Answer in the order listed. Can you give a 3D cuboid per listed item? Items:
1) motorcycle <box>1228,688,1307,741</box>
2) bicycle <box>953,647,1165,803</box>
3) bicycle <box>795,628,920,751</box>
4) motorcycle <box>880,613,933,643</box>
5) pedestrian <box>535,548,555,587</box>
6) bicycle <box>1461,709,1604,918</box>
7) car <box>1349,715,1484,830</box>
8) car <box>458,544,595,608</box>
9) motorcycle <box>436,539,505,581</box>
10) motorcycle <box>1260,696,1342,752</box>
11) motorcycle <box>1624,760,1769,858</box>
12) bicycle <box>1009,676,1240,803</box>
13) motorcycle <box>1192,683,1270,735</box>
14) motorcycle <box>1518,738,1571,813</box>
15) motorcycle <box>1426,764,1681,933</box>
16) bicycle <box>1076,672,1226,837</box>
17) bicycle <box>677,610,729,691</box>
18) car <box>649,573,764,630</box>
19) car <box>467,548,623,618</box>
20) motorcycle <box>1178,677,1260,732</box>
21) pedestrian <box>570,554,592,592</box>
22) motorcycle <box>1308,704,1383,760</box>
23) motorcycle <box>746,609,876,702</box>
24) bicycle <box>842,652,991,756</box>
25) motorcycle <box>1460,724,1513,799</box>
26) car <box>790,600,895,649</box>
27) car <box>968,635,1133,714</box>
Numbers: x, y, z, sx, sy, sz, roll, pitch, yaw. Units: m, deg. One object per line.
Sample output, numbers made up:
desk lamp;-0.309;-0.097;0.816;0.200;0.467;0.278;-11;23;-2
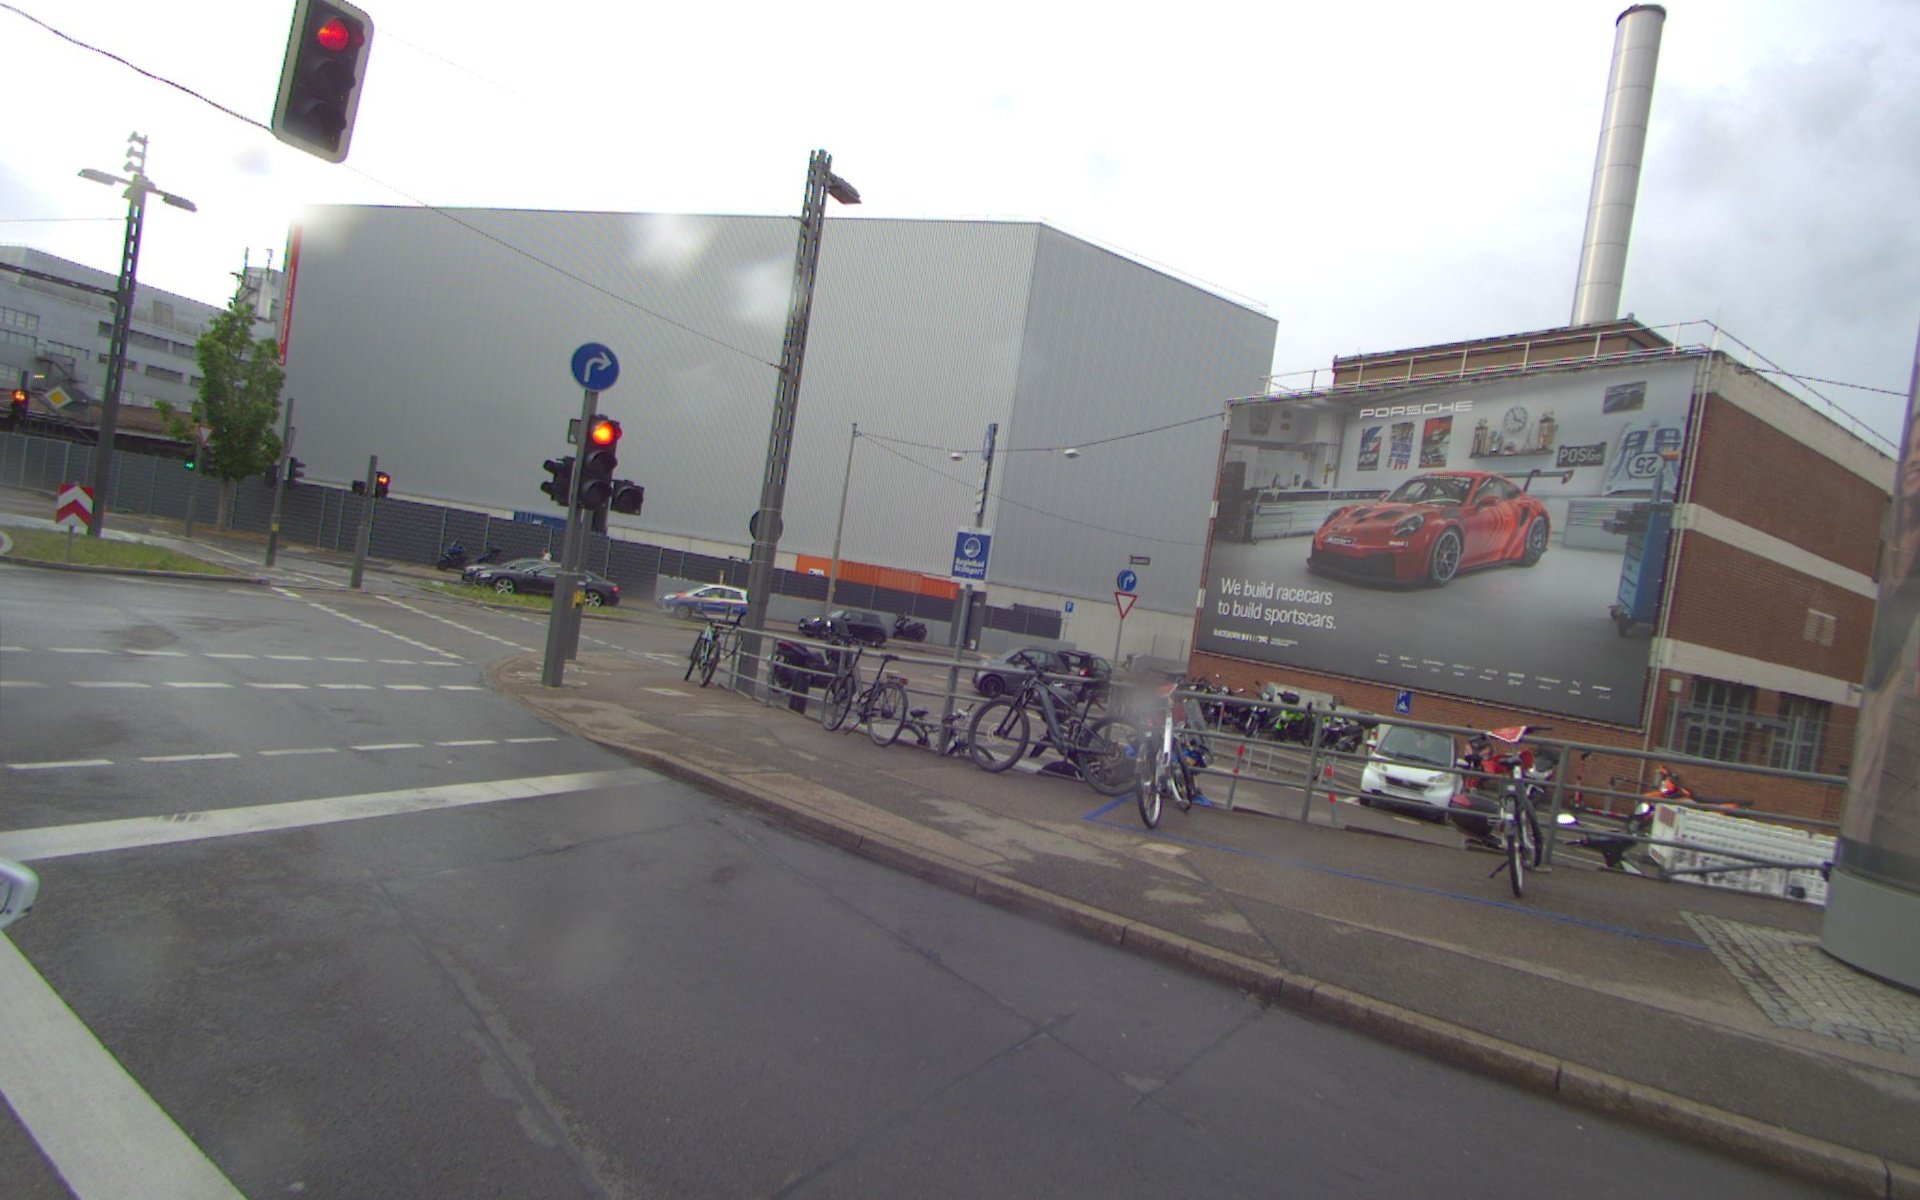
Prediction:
motorcycle;7.993;2.978;26.097;1.999;1.206;0.605;6;3;-29
bicycle;0.906;1.150;9.639;1.969;1.176;0.385;6;0;35
bicycle;-1.186;0.967;11.263;0.383;1.133;1.731;6;0;-39
motorcycle;-2.731;1.456;51.740;2.471;1.200;0.991;8;-1;-34
pedestrian;-17.003;-1.336;41.237;0.605;1.499;0.421;7;0;-23
bicycle;4.148;1.474;7.410;0.581;1.176;1.805;6;0;23
car;8.504;3.078;18.584;1.665;1.499;3.555;10;1;31
car;-15.653;-0.865;36.365;4.254;1.557;1.744;10;-1;-29
motorcycle;-19.755;-1.612;40.592;2.335;1.360;0.648;8;0;-30
motorcycle;8.493;3.099;25.040;1.999;1.206;0.605;6;3;-29
motorcycle;14.199;3.989;19.432;0.922;1.327;1.961;5;4;-41
bicycle;1.646;1.375;10.244;2.138;0.916;0.693;6;-1;32
motorcycle;7.291;2.940;27.075;1.998;1.206;0.605;6;3;-27
motorcycle;12.413;3.684;21.346;0.564;1.327;1.863;10;3;37
motorcycle;5.118;2.126;8.809;1.718;1.002;0.699;8;0;21
bicycle;1.650;1.224;8.434;0.666;1.154;1.774;6;-1;27
bicycle;-4.108;0.773;16.018;0.381;1.111;1.740;6;0;-25
car;-10.111;0.064;40.169;3.939;1.620;1.897;10;-1;-29
car;-13.819;-0.543;33.556;4.536;1.557;1.744;10;-1;-29
motorcycle;7.252;2.919;28.196;1.987;1.206;0.608;7;3;-4
pedestrian;-15.588;-1.111;41.376;0.642;1.499;0.436;7;0;-25
motorcycle;9.316;3.177;24.283;2.005;1.206;0.603;6;3;-38
motorcycle;-2.679;1.047;18.378;0.746;1.469;2.225;8;-1;42
bicycle;-0.532;1.165;11.517;1.789;0.916;0.530;6;-1;44
motorcycle;11.551;3.506;22.049;0.677;1.327;2.016;9;3;33
car;-5.018;1.068;43.087;3.958;1.408;1.744;10;-1;-29
car;2.402;2.007;27.448;4.091;1.547;1.836;8;-2;-3
